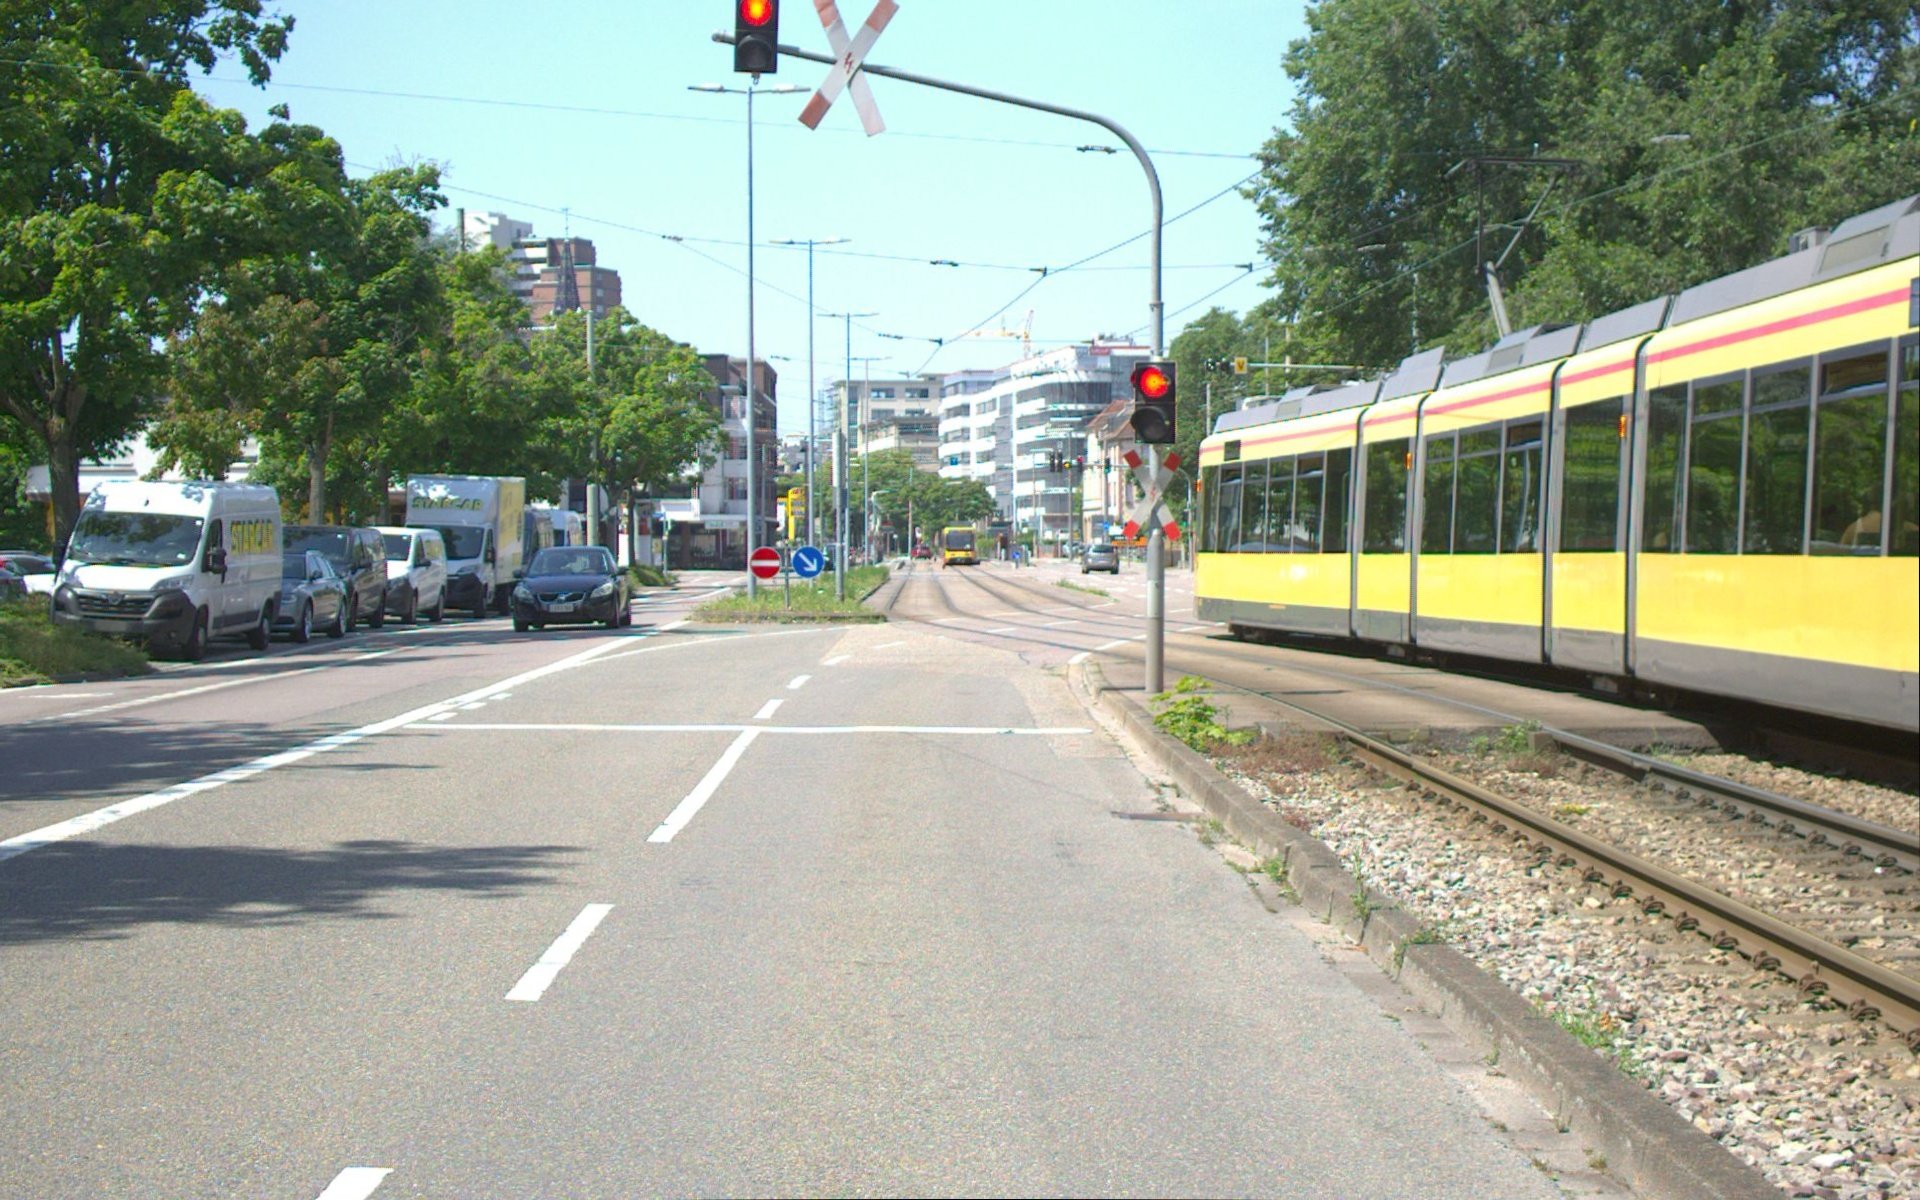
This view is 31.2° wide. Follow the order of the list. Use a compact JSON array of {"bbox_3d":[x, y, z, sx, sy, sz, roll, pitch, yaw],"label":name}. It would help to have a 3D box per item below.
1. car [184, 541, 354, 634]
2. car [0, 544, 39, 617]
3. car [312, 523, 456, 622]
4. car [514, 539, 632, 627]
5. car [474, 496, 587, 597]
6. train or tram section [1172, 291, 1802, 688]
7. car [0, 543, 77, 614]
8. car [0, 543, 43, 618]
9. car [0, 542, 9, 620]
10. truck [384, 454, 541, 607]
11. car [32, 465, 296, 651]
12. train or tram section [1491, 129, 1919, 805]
[{"bbox_3d":[-11.201,-0.227,56.026,1.868,1.432,4.343,-1,1,0],"label":"car"},{"bbox_3d":[-22.804,-0.436,76.808,3.987,1.601,1.805,0,1,-1],"label":"car"},{"bbox_3d":[-11.534,-0.582,69.130,2.061,1.891,4.871,-1,1,0],"label":"car"},{"bbox_3d":[-6.619,-0.320,59.132,1.677,1.393,4.006,-2,1,-2],"label":"car"},{"bbox_3d":[-11.566,-1.457,92.860,2.157,2.630,5.611,1,1,2],"label":"car"},{"bbox_3d":[5.576,-1.266,42.347,2.943,3.679,20.288,1,1,-5],"label":"train or tram section"},{"bbox_3d":[-22.589,-0.496,79.242,3.987,1.601,1.805,0,1,-1],"label":"car"},{"bbox_3d":[-22.122,-0.411,74.533,3.987,1.601,1.805,0,1,-1],"label":"car"},{"bbox_3d":[-21.935,-0.373,71.190,3.987,1.601,1.805,0,1,-1],"label":"car"},{"bbox_3d":[-11.190,-1.572,77.864,2.157,3.199,7.082,3,1,2],"label":"truck"},{"bbox_3d":[-11.393,-0.635,49.715,2.157,2.478,6.193,1,1,2],"label":"car"},{"bbox_3d":[6.629,-0.813,23.140,2.943,3.679,18.391,1,1,-1],"label":"train or tram section"}]
